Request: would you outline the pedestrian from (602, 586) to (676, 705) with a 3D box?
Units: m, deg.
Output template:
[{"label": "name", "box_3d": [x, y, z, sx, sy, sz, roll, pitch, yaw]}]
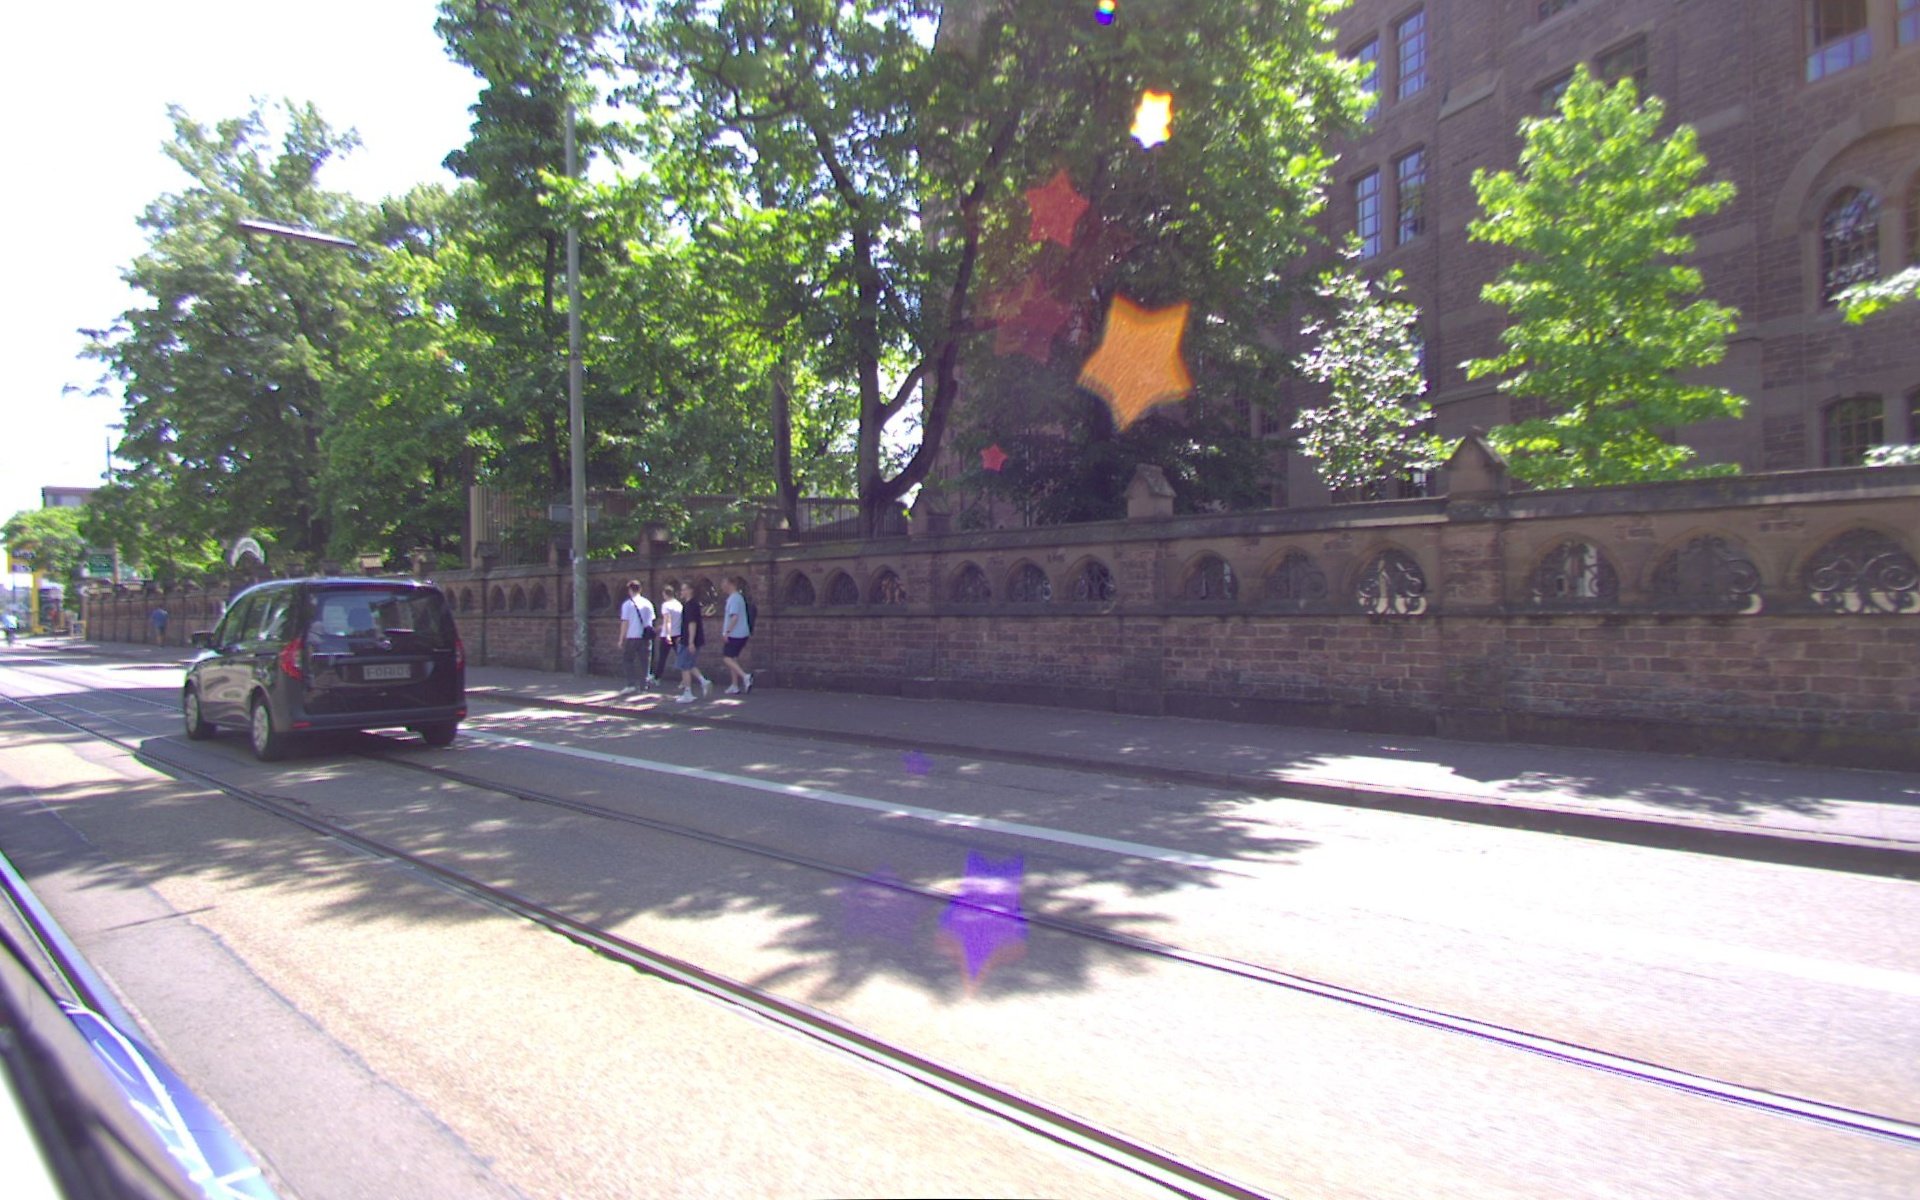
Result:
[{"label": "pedestrian", "box_3d": [-5.086, 0.702, 16.034, 0.919, 1.803, 0.670, -2, 1, 41]}]

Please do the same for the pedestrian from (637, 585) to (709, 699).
[{"label": "pedestrian", "box_3d": [-4.751, 0.679, 16.751, 0.919, 1.790, 0.670, -2, 1, 41]}]

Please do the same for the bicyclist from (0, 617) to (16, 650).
[{"label": "bicyclist", "box_3d": [-48.647, 1.714, 51.555, 0.919, 1.637, 0.656, -2, -3, 41]}]

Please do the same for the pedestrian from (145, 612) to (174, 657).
[{"label": "pedestrian", "box_3d": [-32.854, 1.413, 41.531, 0.919, 1.761, 0.741, -2, 1, 41]}]

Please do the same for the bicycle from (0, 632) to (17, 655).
[{"label": "bicycle", "box_3d": [-48.555, 2.190, 51.444, 1.895, 1.172, 0.652, -2, -3, 41]}]

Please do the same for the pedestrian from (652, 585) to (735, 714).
[{"label": "pedestrian", "box_3d": [-3.824, 0.692, 14.504, 0.919, 1.761, 0.670, -2, 1, 41]}]

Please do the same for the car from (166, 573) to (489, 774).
[{"label": "car", "box_3d": [-7.106, 0.706, 11.203, 4.253, 1.802, 1.885, -1, -1, 41]}]

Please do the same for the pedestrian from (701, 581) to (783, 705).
[{"label": "pedestrian", "box_3d": [-3.309, 0.632, 15.356, 0.919, 1.790, 0.745, -2, 1, 41]}]
